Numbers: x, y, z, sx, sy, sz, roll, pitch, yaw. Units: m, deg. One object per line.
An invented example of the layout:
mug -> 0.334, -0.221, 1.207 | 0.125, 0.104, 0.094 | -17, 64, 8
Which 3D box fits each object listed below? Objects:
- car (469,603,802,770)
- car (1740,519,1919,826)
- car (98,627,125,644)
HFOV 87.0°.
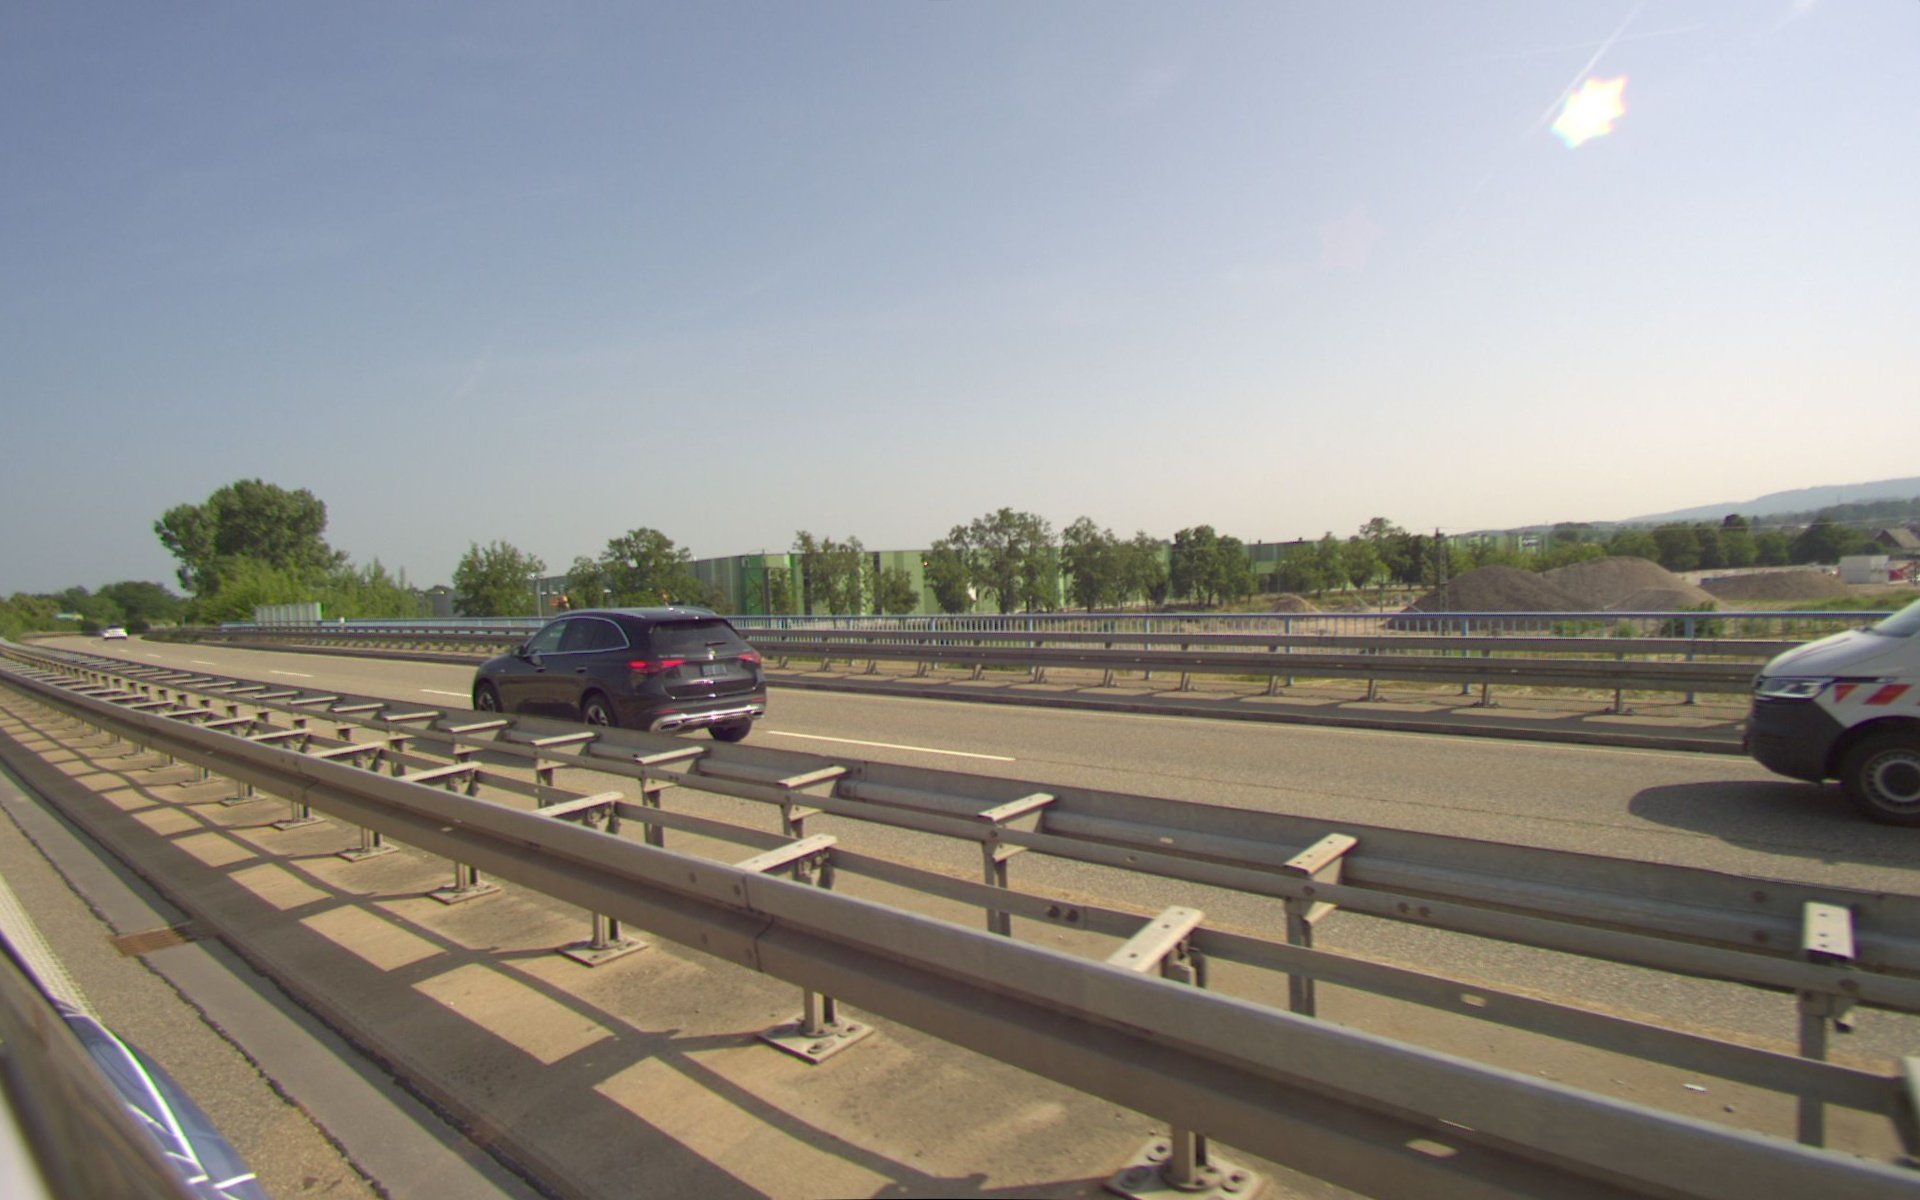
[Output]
car -> -4.038, 0.894, 12.181 | 4.417, 1.619, 1.845 | -1, 0, 42
car -> 8.269, 0.417, 6.286 | 5.304, 2.021, 2.018 | -2, 0, 41
car -> -78.962, 3.303, 94.167 | 1.628, 1.514, 4.004 | -2, 0, -43
